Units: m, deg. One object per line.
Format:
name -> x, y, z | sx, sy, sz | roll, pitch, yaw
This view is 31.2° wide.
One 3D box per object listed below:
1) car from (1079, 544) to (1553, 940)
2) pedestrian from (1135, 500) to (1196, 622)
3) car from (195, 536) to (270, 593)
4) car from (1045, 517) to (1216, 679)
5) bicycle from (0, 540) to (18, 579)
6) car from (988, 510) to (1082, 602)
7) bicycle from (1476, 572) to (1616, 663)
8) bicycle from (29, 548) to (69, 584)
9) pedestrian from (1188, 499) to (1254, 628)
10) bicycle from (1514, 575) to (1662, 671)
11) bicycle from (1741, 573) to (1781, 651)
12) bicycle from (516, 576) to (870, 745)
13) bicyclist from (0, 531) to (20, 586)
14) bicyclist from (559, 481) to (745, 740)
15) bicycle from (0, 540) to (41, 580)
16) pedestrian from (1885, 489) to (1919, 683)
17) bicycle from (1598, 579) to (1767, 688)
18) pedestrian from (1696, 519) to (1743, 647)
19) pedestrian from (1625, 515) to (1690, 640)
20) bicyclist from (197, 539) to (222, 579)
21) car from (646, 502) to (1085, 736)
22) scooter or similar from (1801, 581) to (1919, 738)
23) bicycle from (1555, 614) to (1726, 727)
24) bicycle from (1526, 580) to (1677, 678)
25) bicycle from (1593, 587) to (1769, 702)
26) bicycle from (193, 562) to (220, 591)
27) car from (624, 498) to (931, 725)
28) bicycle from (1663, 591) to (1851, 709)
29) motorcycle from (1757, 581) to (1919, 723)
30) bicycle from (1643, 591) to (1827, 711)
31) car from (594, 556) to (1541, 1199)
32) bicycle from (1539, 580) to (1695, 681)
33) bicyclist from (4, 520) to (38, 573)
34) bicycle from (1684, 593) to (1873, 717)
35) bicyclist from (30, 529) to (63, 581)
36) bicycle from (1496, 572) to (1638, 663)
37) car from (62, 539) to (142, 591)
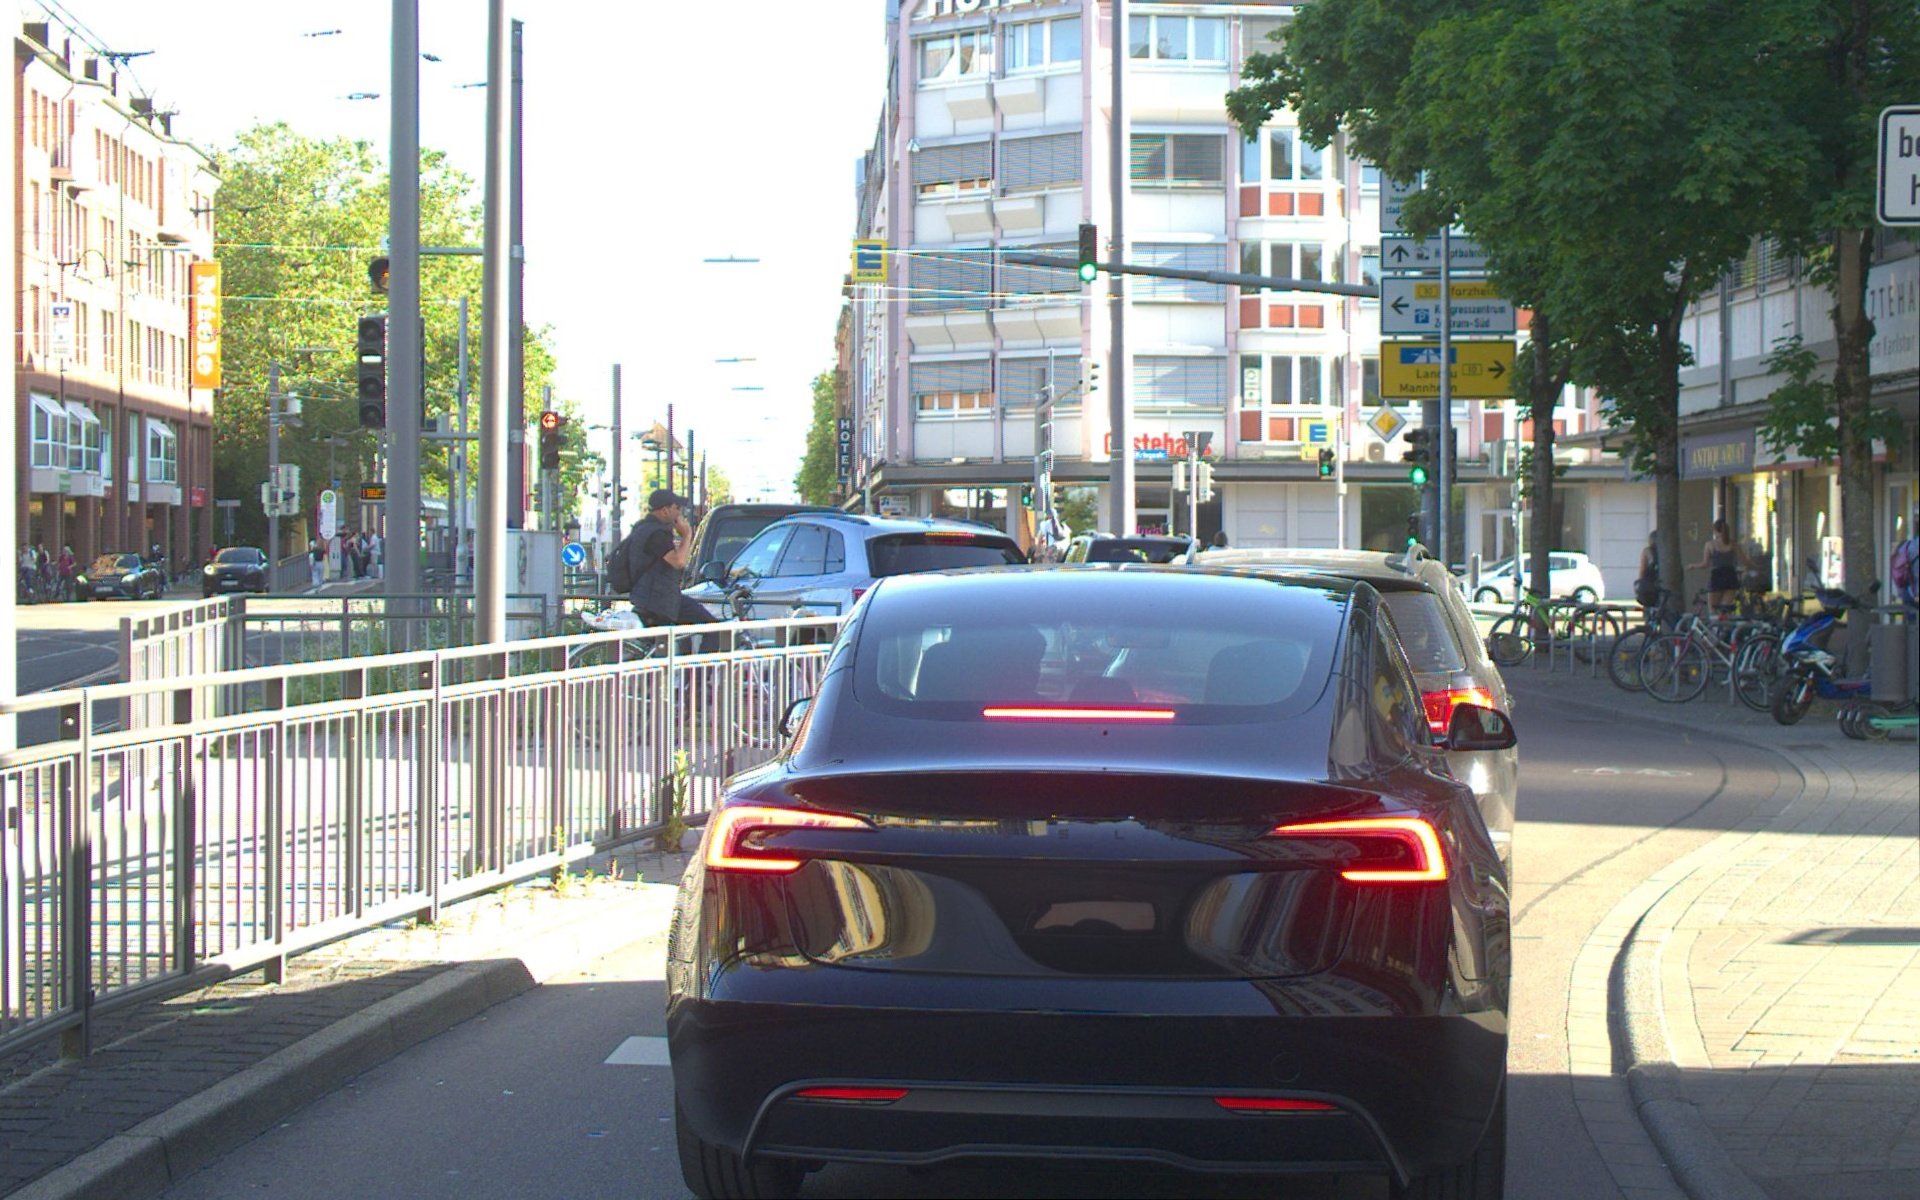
car -> 1.538, 0.497, 14.929 | 1.751, 1.449, 3.999 | 1, 1, 6
pedestrian -> 3.437, -0.655, 57.615 | 0.921, 2.007, 0.972 | 1, 0, -1
car -> -22.420, -1.092, 106.057 | 1.697, 1.725, 3.707 | 1, 1, -3
car -> 1.937, -0.040, 40.065 | 1.598, 1.772, 3.981 | 1, 1, -2
bicycle -> -27.236, -1.140, 97.165 | 0.537, 1.085, 2.225 | 1, 1, 1
car -> 1.453, -0.865, 67.881 | 1.719, 1.745, 3.754 | 1, 1, -1
bicycle -> 7.235, 0.217, 42.483 | 1.650, 1.095, 0.350 | 1, 0, 1
bicycle -> -27.308, -1.022, 103.099 | 0.529, 1.085, 2.284 | 0, 1, 1
pedestrian -> 4.122, -0.581, 54.379 | 0.921, 2.007, 0.972 | 1, 0, -1
bicycle -> 7.366, 0.265, 40.344 | 1.650, 1.095, 0.350 | 1, 0, 1
bicycle -> 10.712, 0.153, 46.001 | 0.332, 1.030, 1.256 | 1, 0, 5
bicycle -> -1.717, 0.383, 22.423 | 2.329, 1.050, 0.631 | 0, 1, -38
bicyclist -> -27.191, -1.178, 97.628 | 0.784, 1.558, 0.746 | 1, 0, 1
bicyclist -> -1.990, 0.061, 22.172 | 0.758, 1.623, 0.978 | 0, 1, -39
bicycle -> -27.456, -1.168, 100.314 | 0.529, 1.085, 2.284 | 4, 0, 1
pedestrian -> 10.074, -0.147, 35.904 | 0.662, 2.007, 0.579 | 1, 0, 2
bicycle -> 7.423, 0.342, 35.351 | 1.650, 1.095, 0.350 | 1, 0, 1
pedestrian -> 10.248, -0.229, 46.398 | 0.526, 1.704, 0.403 | 1, 0, 0
pedestrian -> 9.394, -0.303, 46.320 | 0.699, 1.656, 0.777 | 1, 0, -1
bicyclist -> -29.318, -1.597, 134.317 | 0.784, 1.558, 0.746 | 1, 0, 2
car -> -0.823, 0.112, 26.534 | 1.883, 1.656, 4.159 | 1, 1, -25
scooter or similar -> 7.562, 0.469, 27.193 | 1.644, 1.211, 0.644 | 1, 0, 30
bicycle -> 6.788, 0.703, 34.298 | 1.649, 1.095, 0.350 | 1, 0, -10
bicycle -> 7.334, 0.325, 39.331 | 1.650, 1.095, 0.350 | 1, 0, 1
bicycle -> 7.004, 0.429, 33.403 | 1.649, 1.095, 0.350 | 1, 0, -10
bicycle -> -29.367, -0.918, 133.990 | 0.529, 1.085, 2.224 | 1, 1, 1
car -> -1.800, 0.076, 32.549 | 1.993, 2.007, 4.001 | 0, 1, -17
bicycle -> 7.291, 0.457, 31.452 | 1.649, 1.057, 0.350 | 1, 0, -10
motorcycle -> 7.718, 0.440, 29.267 | 1.707, 1.169, 0.541 | 1, 0, -2
bicycle -> 7.186, 0.472, 31.876 | 1.649, 1.095, 0.350 | 1, 0, -10
car -> 0.352, 0.633, 8.690 | 1.829, 1.450, 3.999 | 1, 1, 4
bicycle -> 7.314, 0.339, 38.304 | 1.650, 1.095, 0.350 | 1, 0, 1
bicyclist -> -27.448, -1.566, 100.520 | 0.784, 1.558, 0.746 | 0, 1, 2
bicycle -> 7.388, 0.492, 31.031 | 1.649, 1.095, 0.350 | 1, 0, -10
bicyclist -> -27.260, -1.345, 102.586 | 0.784, 1.558, 0.746 | 0, 1, 2
bicycle -> 7.303, 0.208, 41.389 | 1.650, 1.095, 0.350 | 0, 1, 1
car -> -25.607, -1.044, 102.715 | 1.710, 1.521, 4.037 | 1, 1, -5
